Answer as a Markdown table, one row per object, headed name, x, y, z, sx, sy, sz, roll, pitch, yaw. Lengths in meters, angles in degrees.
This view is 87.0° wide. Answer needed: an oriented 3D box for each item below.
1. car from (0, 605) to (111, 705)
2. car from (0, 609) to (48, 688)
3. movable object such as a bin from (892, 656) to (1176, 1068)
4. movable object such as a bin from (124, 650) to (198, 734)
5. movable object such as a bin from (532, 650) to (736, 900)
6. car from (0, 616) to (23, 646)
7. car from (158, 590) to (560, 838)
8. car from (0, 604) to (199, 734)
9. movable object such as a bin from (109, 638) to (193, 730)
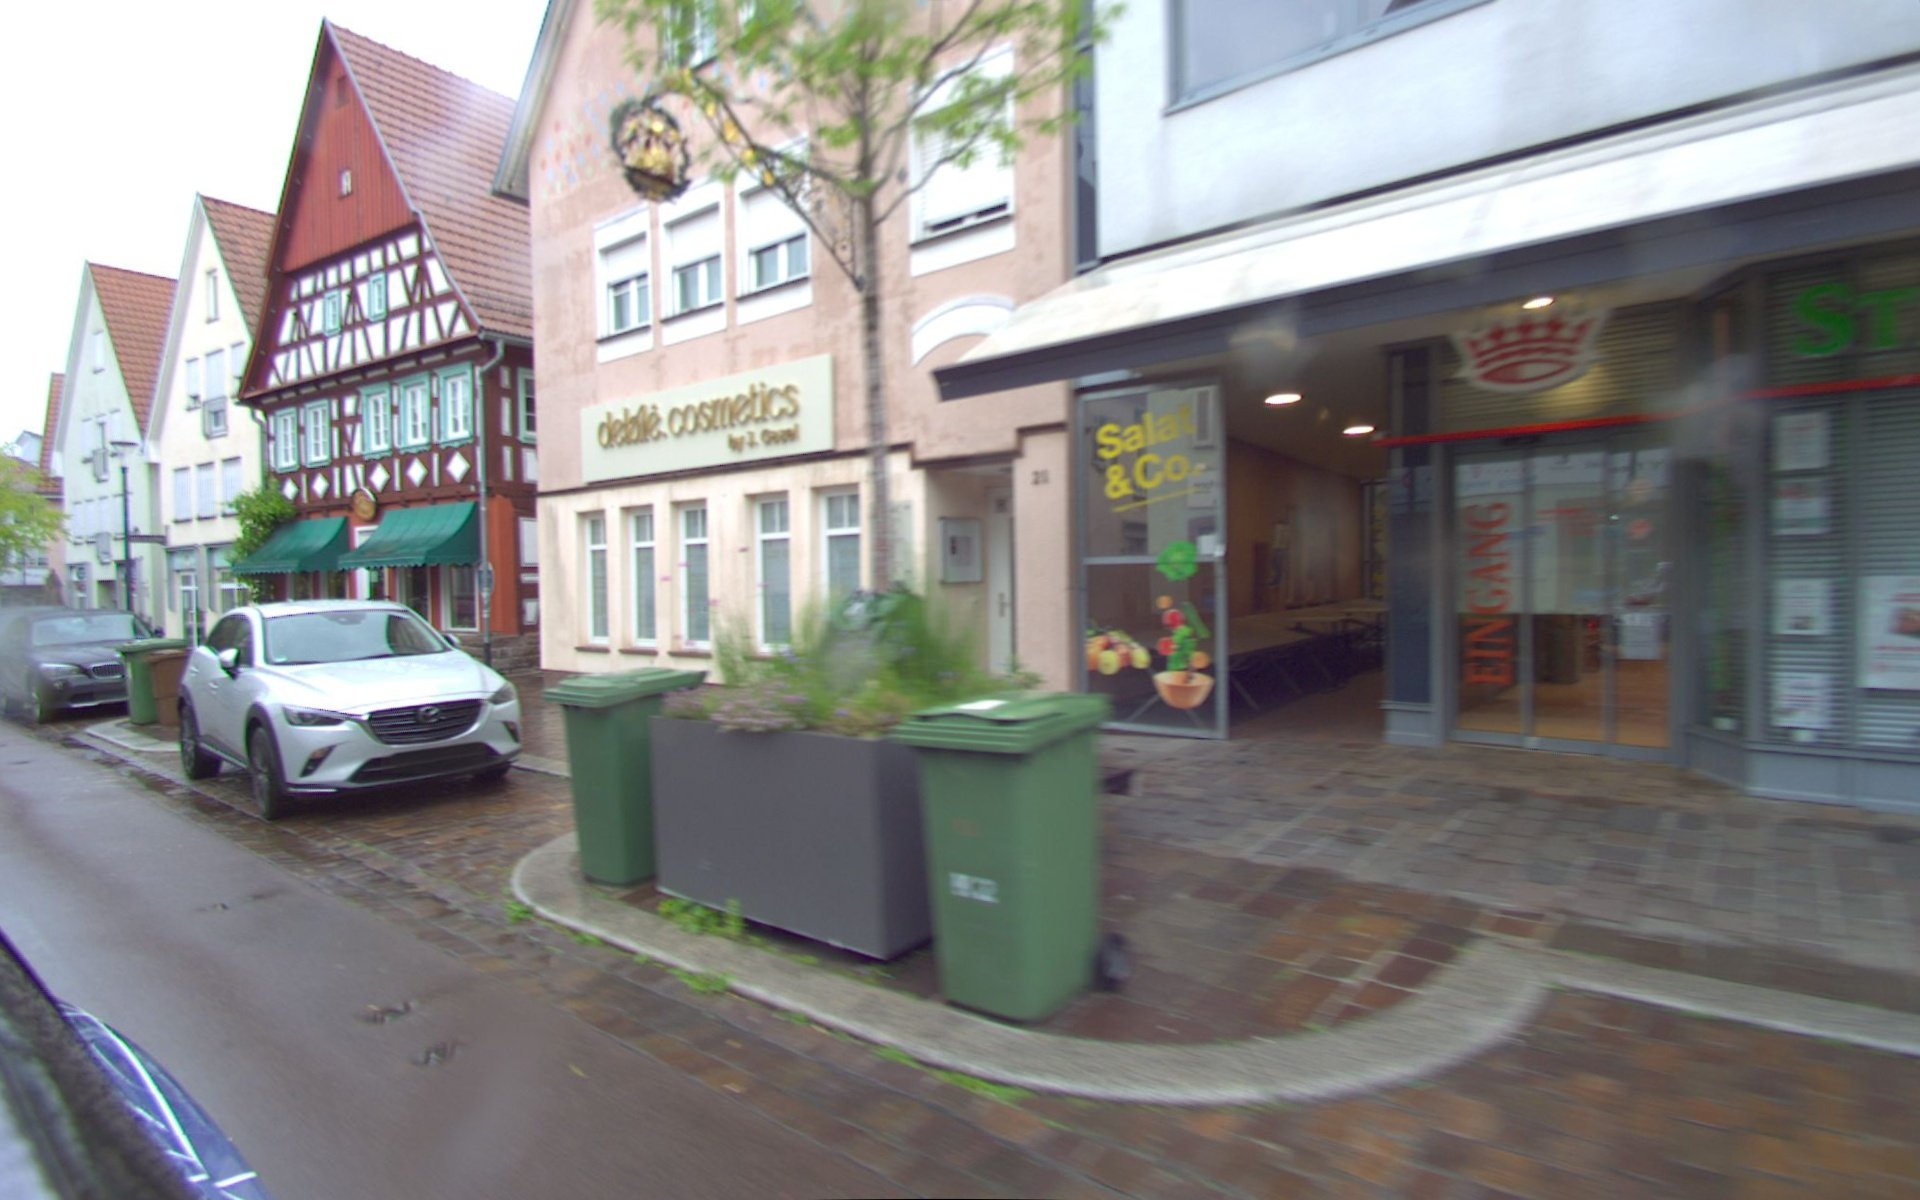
| name | x | y | z | sx | sy | sz | roll | pitch | yaw |
| --- | --- | --- | --- | --- | --- | --- | --- | --- | --- |
| car | -18.067 | 0.976 | 19.543 | 4.537 | 1.687 | 1.815 | 0 | 1 | 40 |
| car | -23.307 | 1.133 | 24.191 | 4.479 | 1.687 | 1.753 | 0 | 2 | 43 |
| movable object such as a bin | 0.281 | 0.804 | 3.482 | 0.609 | 1.114 | 0.808 | 0 | 4 | 36 |
| movable object such as a bin | -9.954 | 1.128 | 12.610 | 0.562 | 0.962 | 0.649 | 0 | 1 | 43 |
| movable object such as a bin | -1.683 | 0.850 | 5.270 | 0.609 | 1.114 | 0.807 | 0 | 1 | 36 |
| car | -58.202 | 1.888 | 60.392 | 1.667 | 1.702 | 3.969 | -1 | 1 | -15 |
| car | -5.193 | 0.727 | 8.530 | 3.999 | 1.578 | 1.808 | 0 | 1 | 42 |
| car | -13.392 | 0.922 | 15.453 | 4.278 | 1.563 | 1.815 | 0 | 4 | 40 |
| movable object such as a bin | -10.454 | 1.059 | 13.081 | 0.763 | 1.090 | 0.739 | 0 | 1 | 43 |
